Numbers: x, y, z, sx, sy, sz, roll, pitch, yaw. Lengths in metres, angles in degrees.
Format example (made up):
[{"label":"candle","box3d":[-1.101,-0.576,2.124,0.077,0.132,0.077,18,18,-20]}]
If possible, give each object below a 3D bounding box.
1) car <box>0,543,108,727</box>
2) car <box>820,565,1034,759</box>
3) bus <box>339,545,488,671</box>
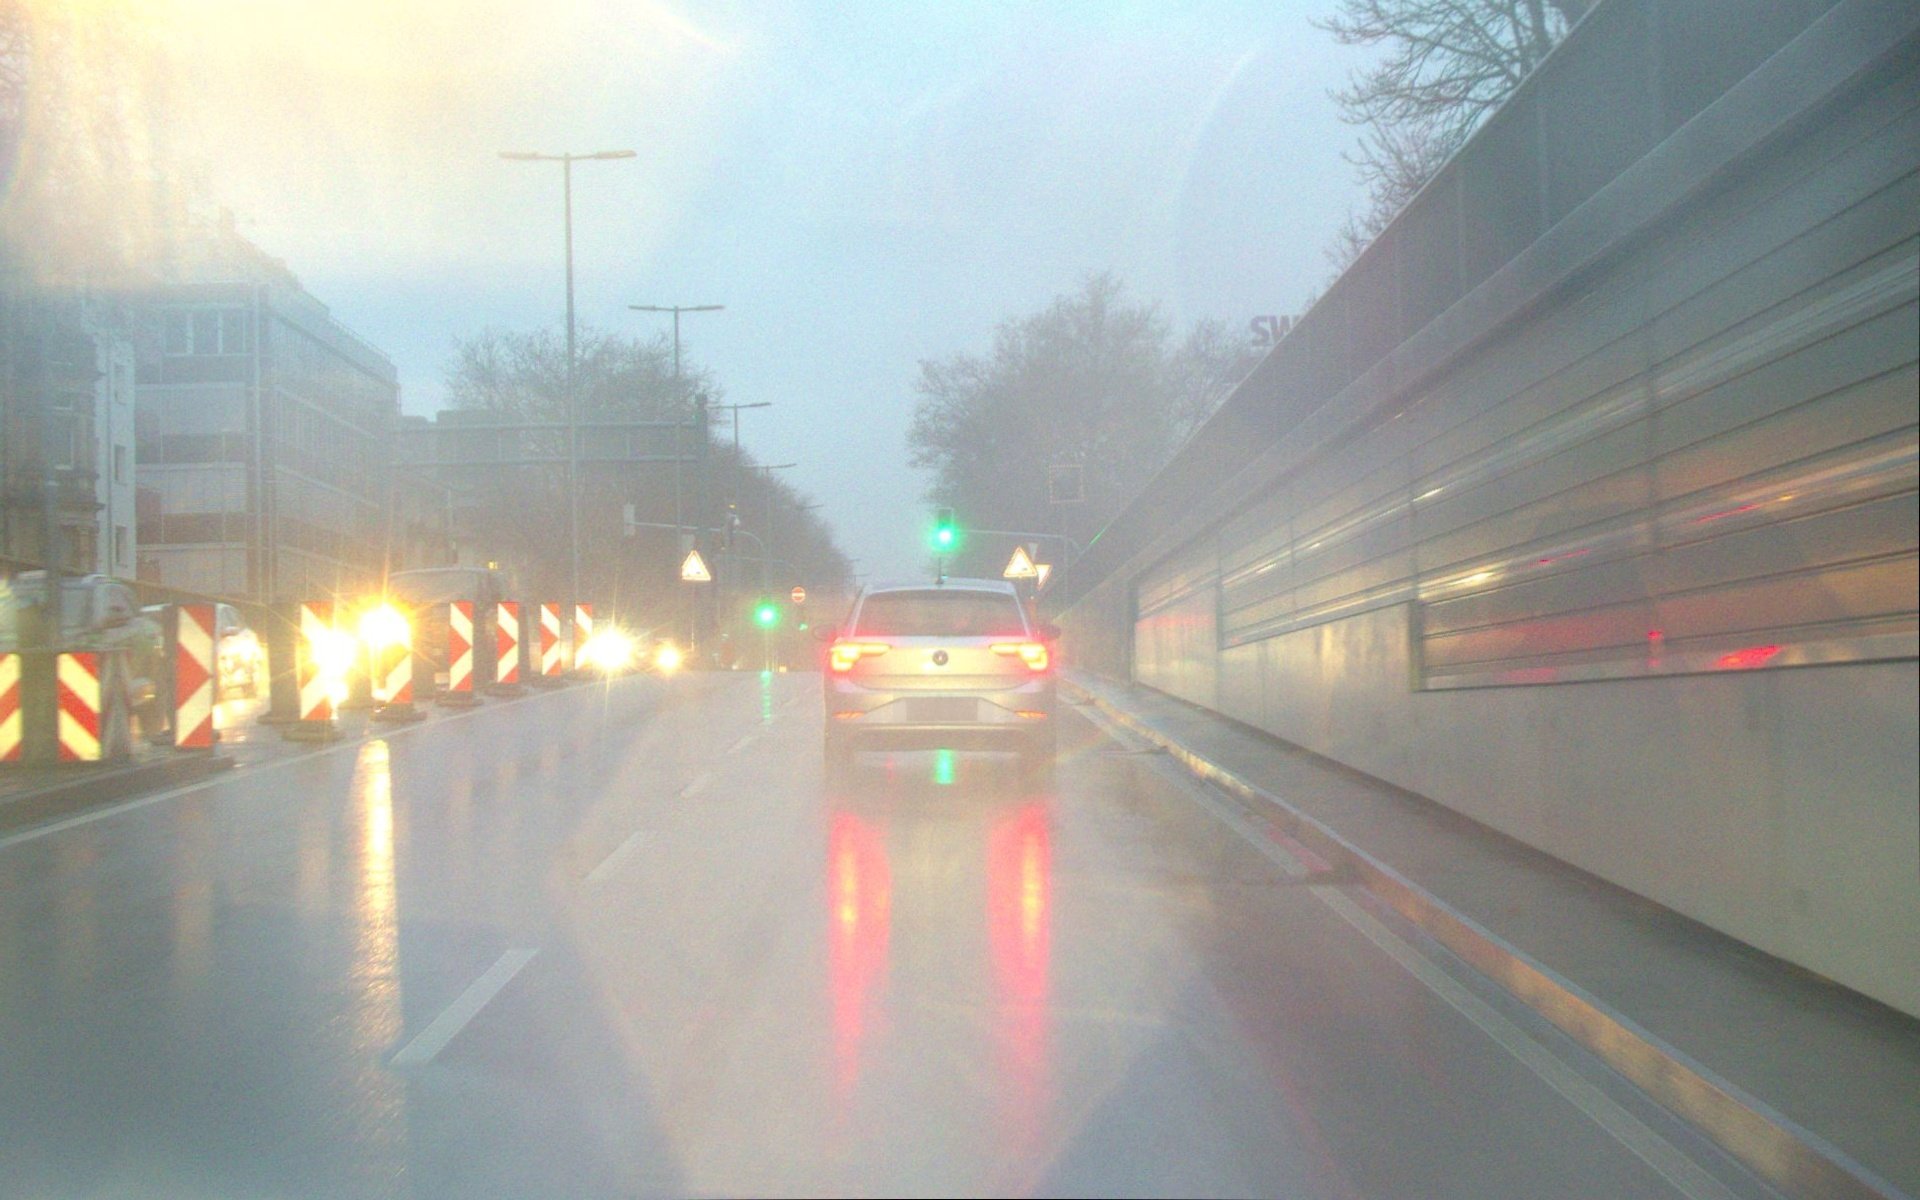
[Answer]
[{"label":"car","box3d":[-9.226,0.315,31.581,1.785,1.587,3.841,-3,1,0]},{"label":"car","box3d":[-0.257,0.485,26.419,1.532,1.393,3.433,0,-1,-1]},{"label":"bus","box3d":[-9.281,0.133,58.729,1.674,1.959,5.175,-4,0,-1]}]
